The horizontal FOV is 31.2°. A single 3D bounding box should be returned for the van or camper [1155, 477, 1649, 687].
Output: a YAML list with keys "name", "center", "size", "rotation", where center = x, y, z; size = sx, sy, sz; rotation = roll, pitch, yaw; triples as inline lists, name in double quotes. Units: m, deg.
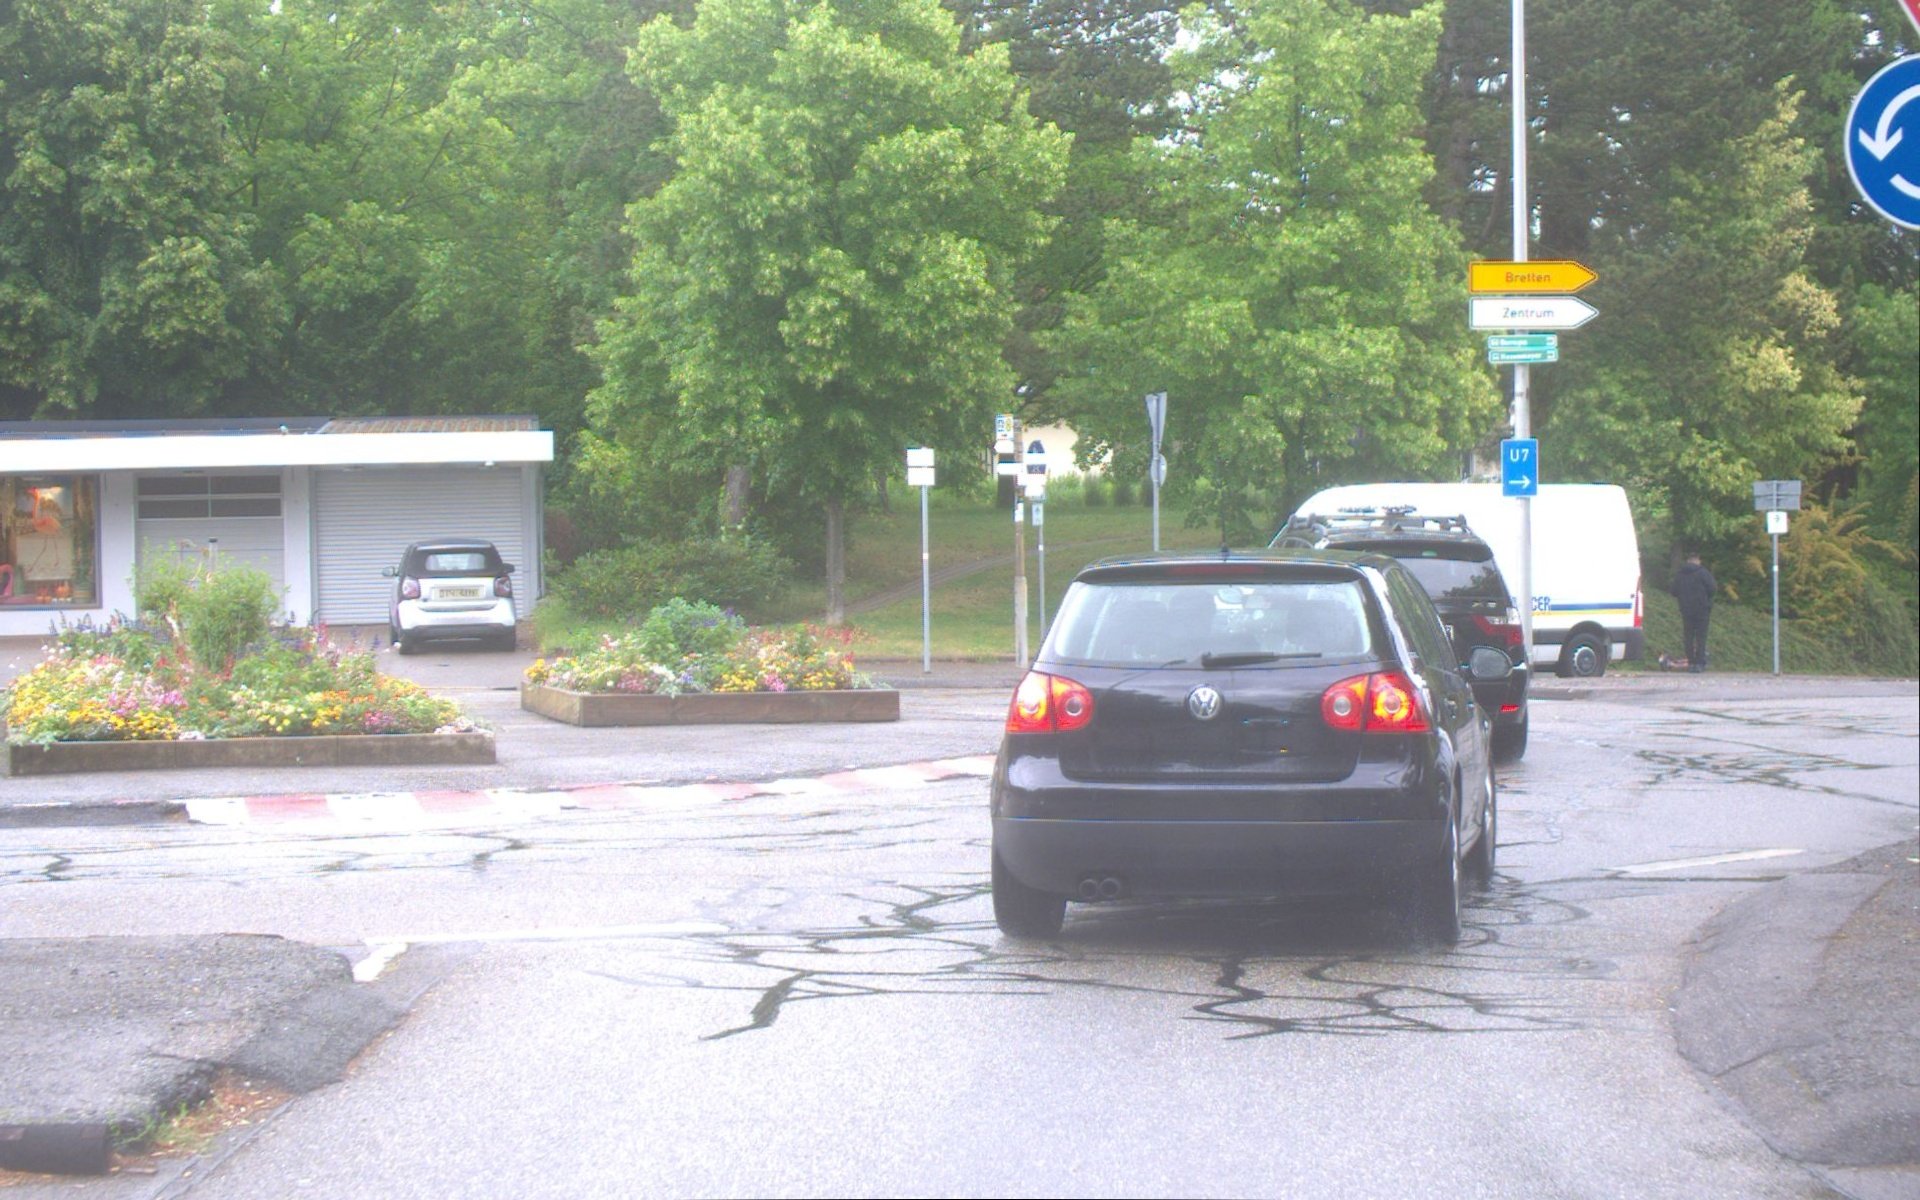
- name: "van or camper"
  center: [5.313, -0.198, 41.072]
  size: [5.650, 2.370, 2.201]
  rotation: [0, 0, -30]

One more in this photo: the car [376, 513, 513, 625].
- name: "car"
  center: [-7.403, -0.458, 49.317]
  size: [1.812, 1.481, 3.832]
  rotation: [-2, 1, -9]

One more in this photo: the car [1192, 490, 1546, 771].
- name: "car"
  center: [2.848, 0.183, 24.809]
  size: [1.764, 1.795, 4.247]
  rotation: [-2, 1, -3]

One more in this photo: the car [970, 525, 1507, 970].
- name: "car"
  center: [1.280, 0.477, 14.066]
  size: [1.765, 1.533, 3.998]
  rotation: [1, 1, 11]

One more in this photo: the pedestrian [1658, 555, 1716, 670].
- name: "pedestrian"
  center: [10.956, 0.183, 51.823]
  size: [0.738, 1.719, 0.816]
  rotation: [1, 0, 19]
